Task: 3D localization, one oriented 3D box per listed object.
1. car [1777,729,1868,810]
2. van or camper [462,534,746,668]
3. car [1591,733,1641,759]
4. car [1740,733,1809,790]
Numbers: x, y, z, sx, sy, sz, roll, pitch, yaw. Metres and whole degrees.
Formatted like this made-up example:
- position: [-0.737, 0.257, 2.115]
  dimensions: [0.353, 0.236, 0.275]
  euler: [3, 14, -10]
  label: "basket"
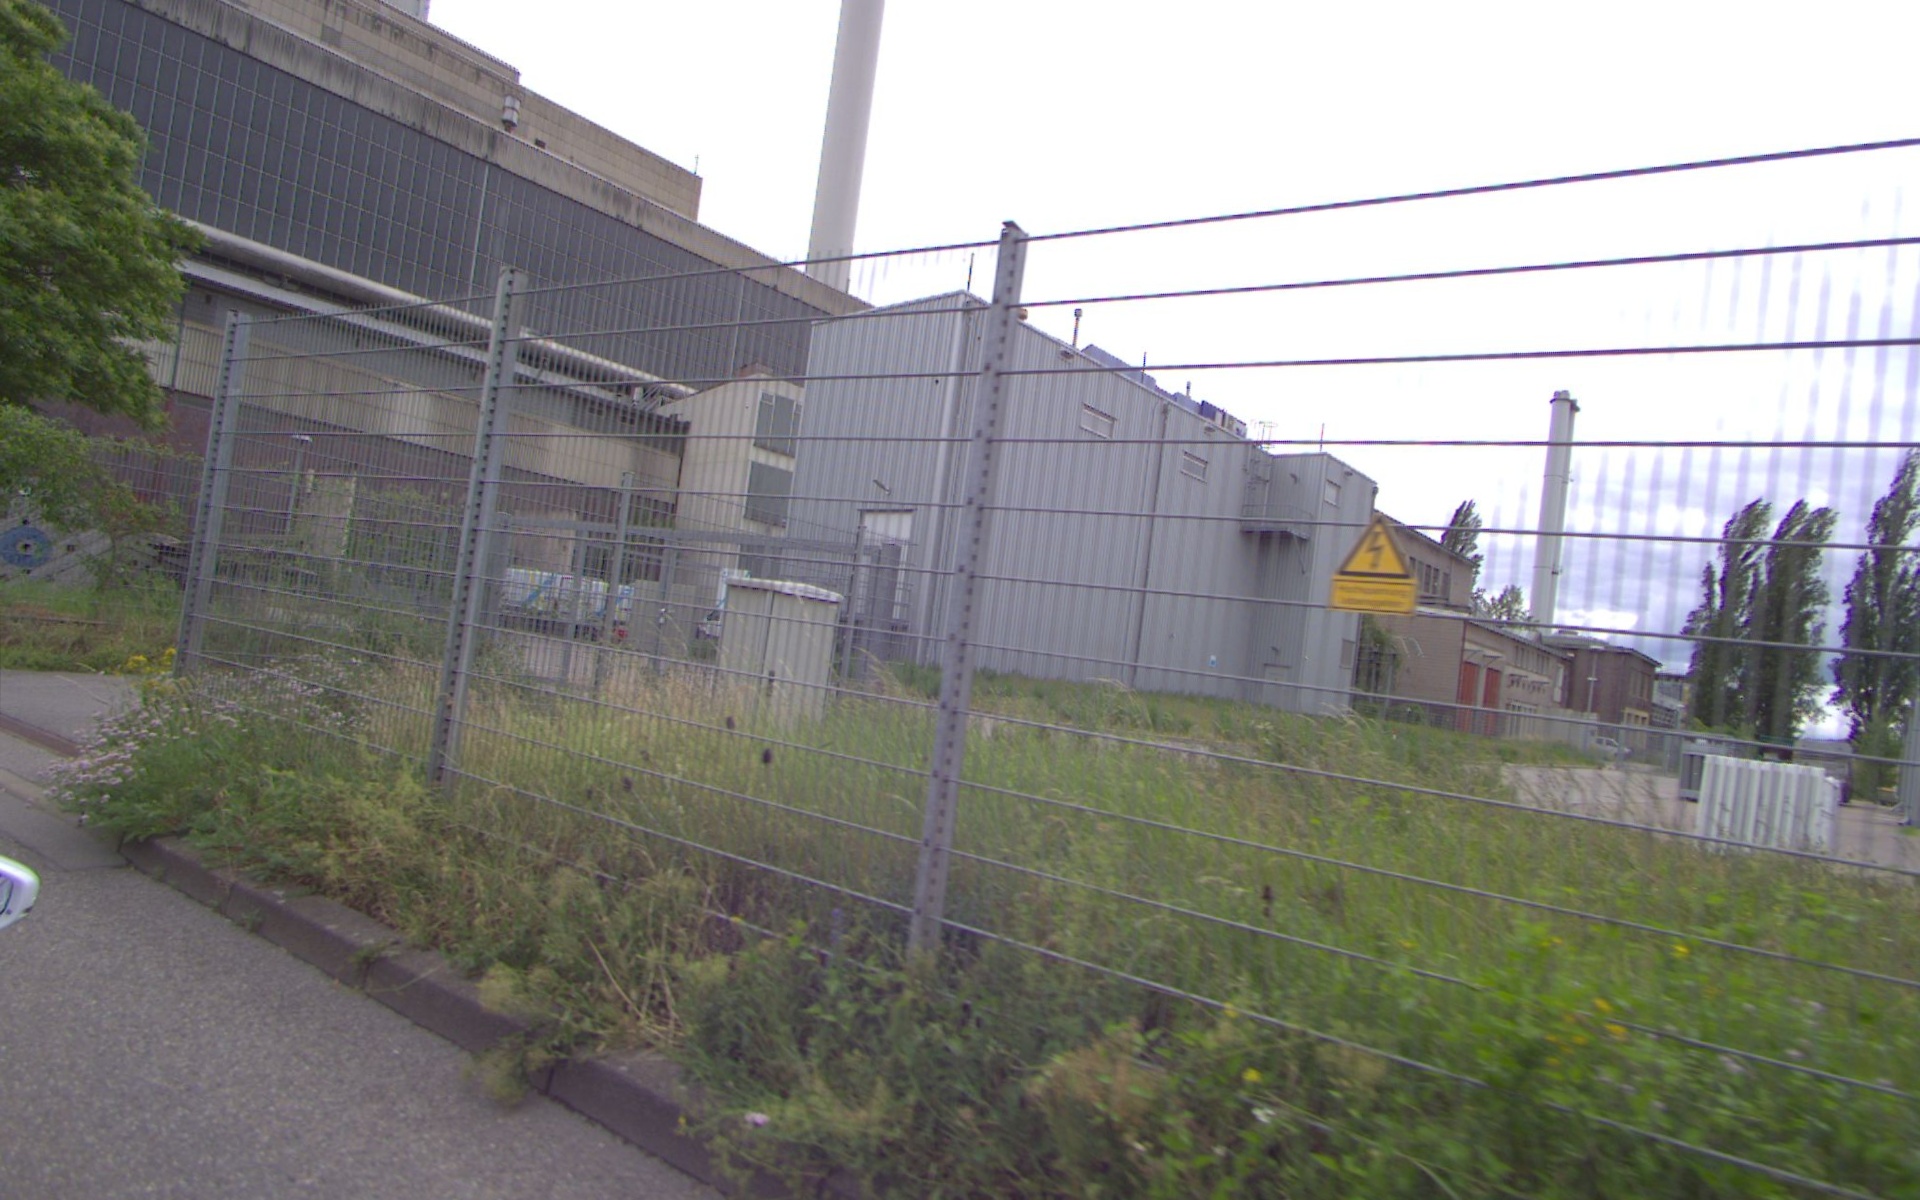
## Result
- position: [34.916, 6.833, 40.667]
  dimensions: [2.385, 2.676, 5.326]
  euler: [6, -3, 43]
  label: "car"
- position: [-15.783, 0.332, 46.392]
  dimensions: [5.386, 4.580, 11.856]
  euler: [5, -4, 23]
  label: "van or camper"
- position: [67.095, 14.918, 102.890]
  dimensions: [3.947, 2.036, 1.992]
  euler: [3, -4, 42]
  label: "car"
- position: [46.076, 9.142, 56.875]
  dimensions: [2.461, 2.676, 5.326]
  euler: [6, -3, 43]
  label: "car"
